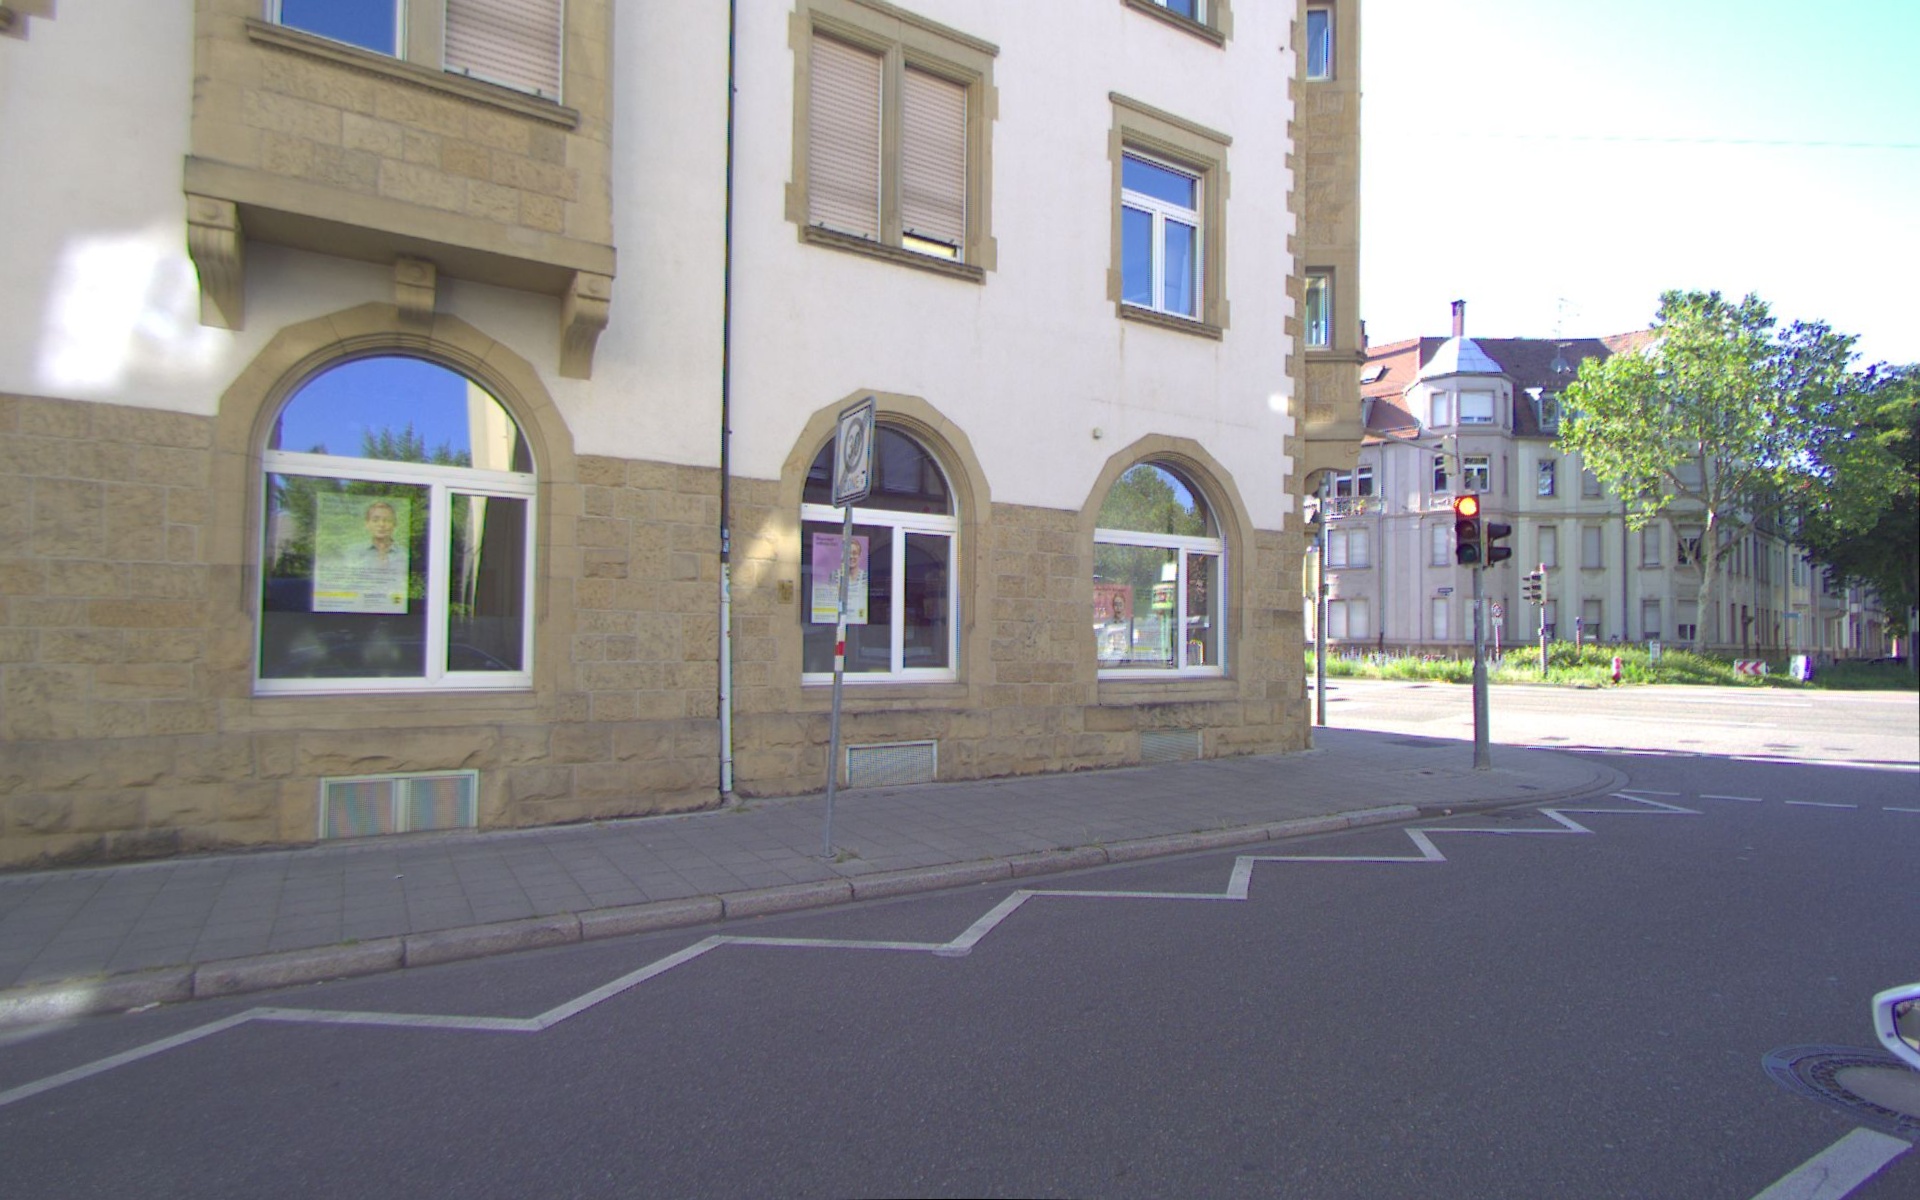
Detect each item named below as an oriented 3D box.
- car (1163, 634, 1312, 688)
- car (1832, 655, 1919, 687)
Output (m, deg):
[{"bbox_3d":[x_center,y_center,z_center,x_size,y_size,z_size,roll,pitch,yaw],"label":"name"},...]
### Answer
[{"bbox_3d":[8.341,1.804,30.405,3.944,1.336,1.812,2,-1,43],"label":"car"},{"bbox_3d":[45.896,3.481,49.812,3.943,1.505,1.673,-2,-3,42],"label":"car"}]
